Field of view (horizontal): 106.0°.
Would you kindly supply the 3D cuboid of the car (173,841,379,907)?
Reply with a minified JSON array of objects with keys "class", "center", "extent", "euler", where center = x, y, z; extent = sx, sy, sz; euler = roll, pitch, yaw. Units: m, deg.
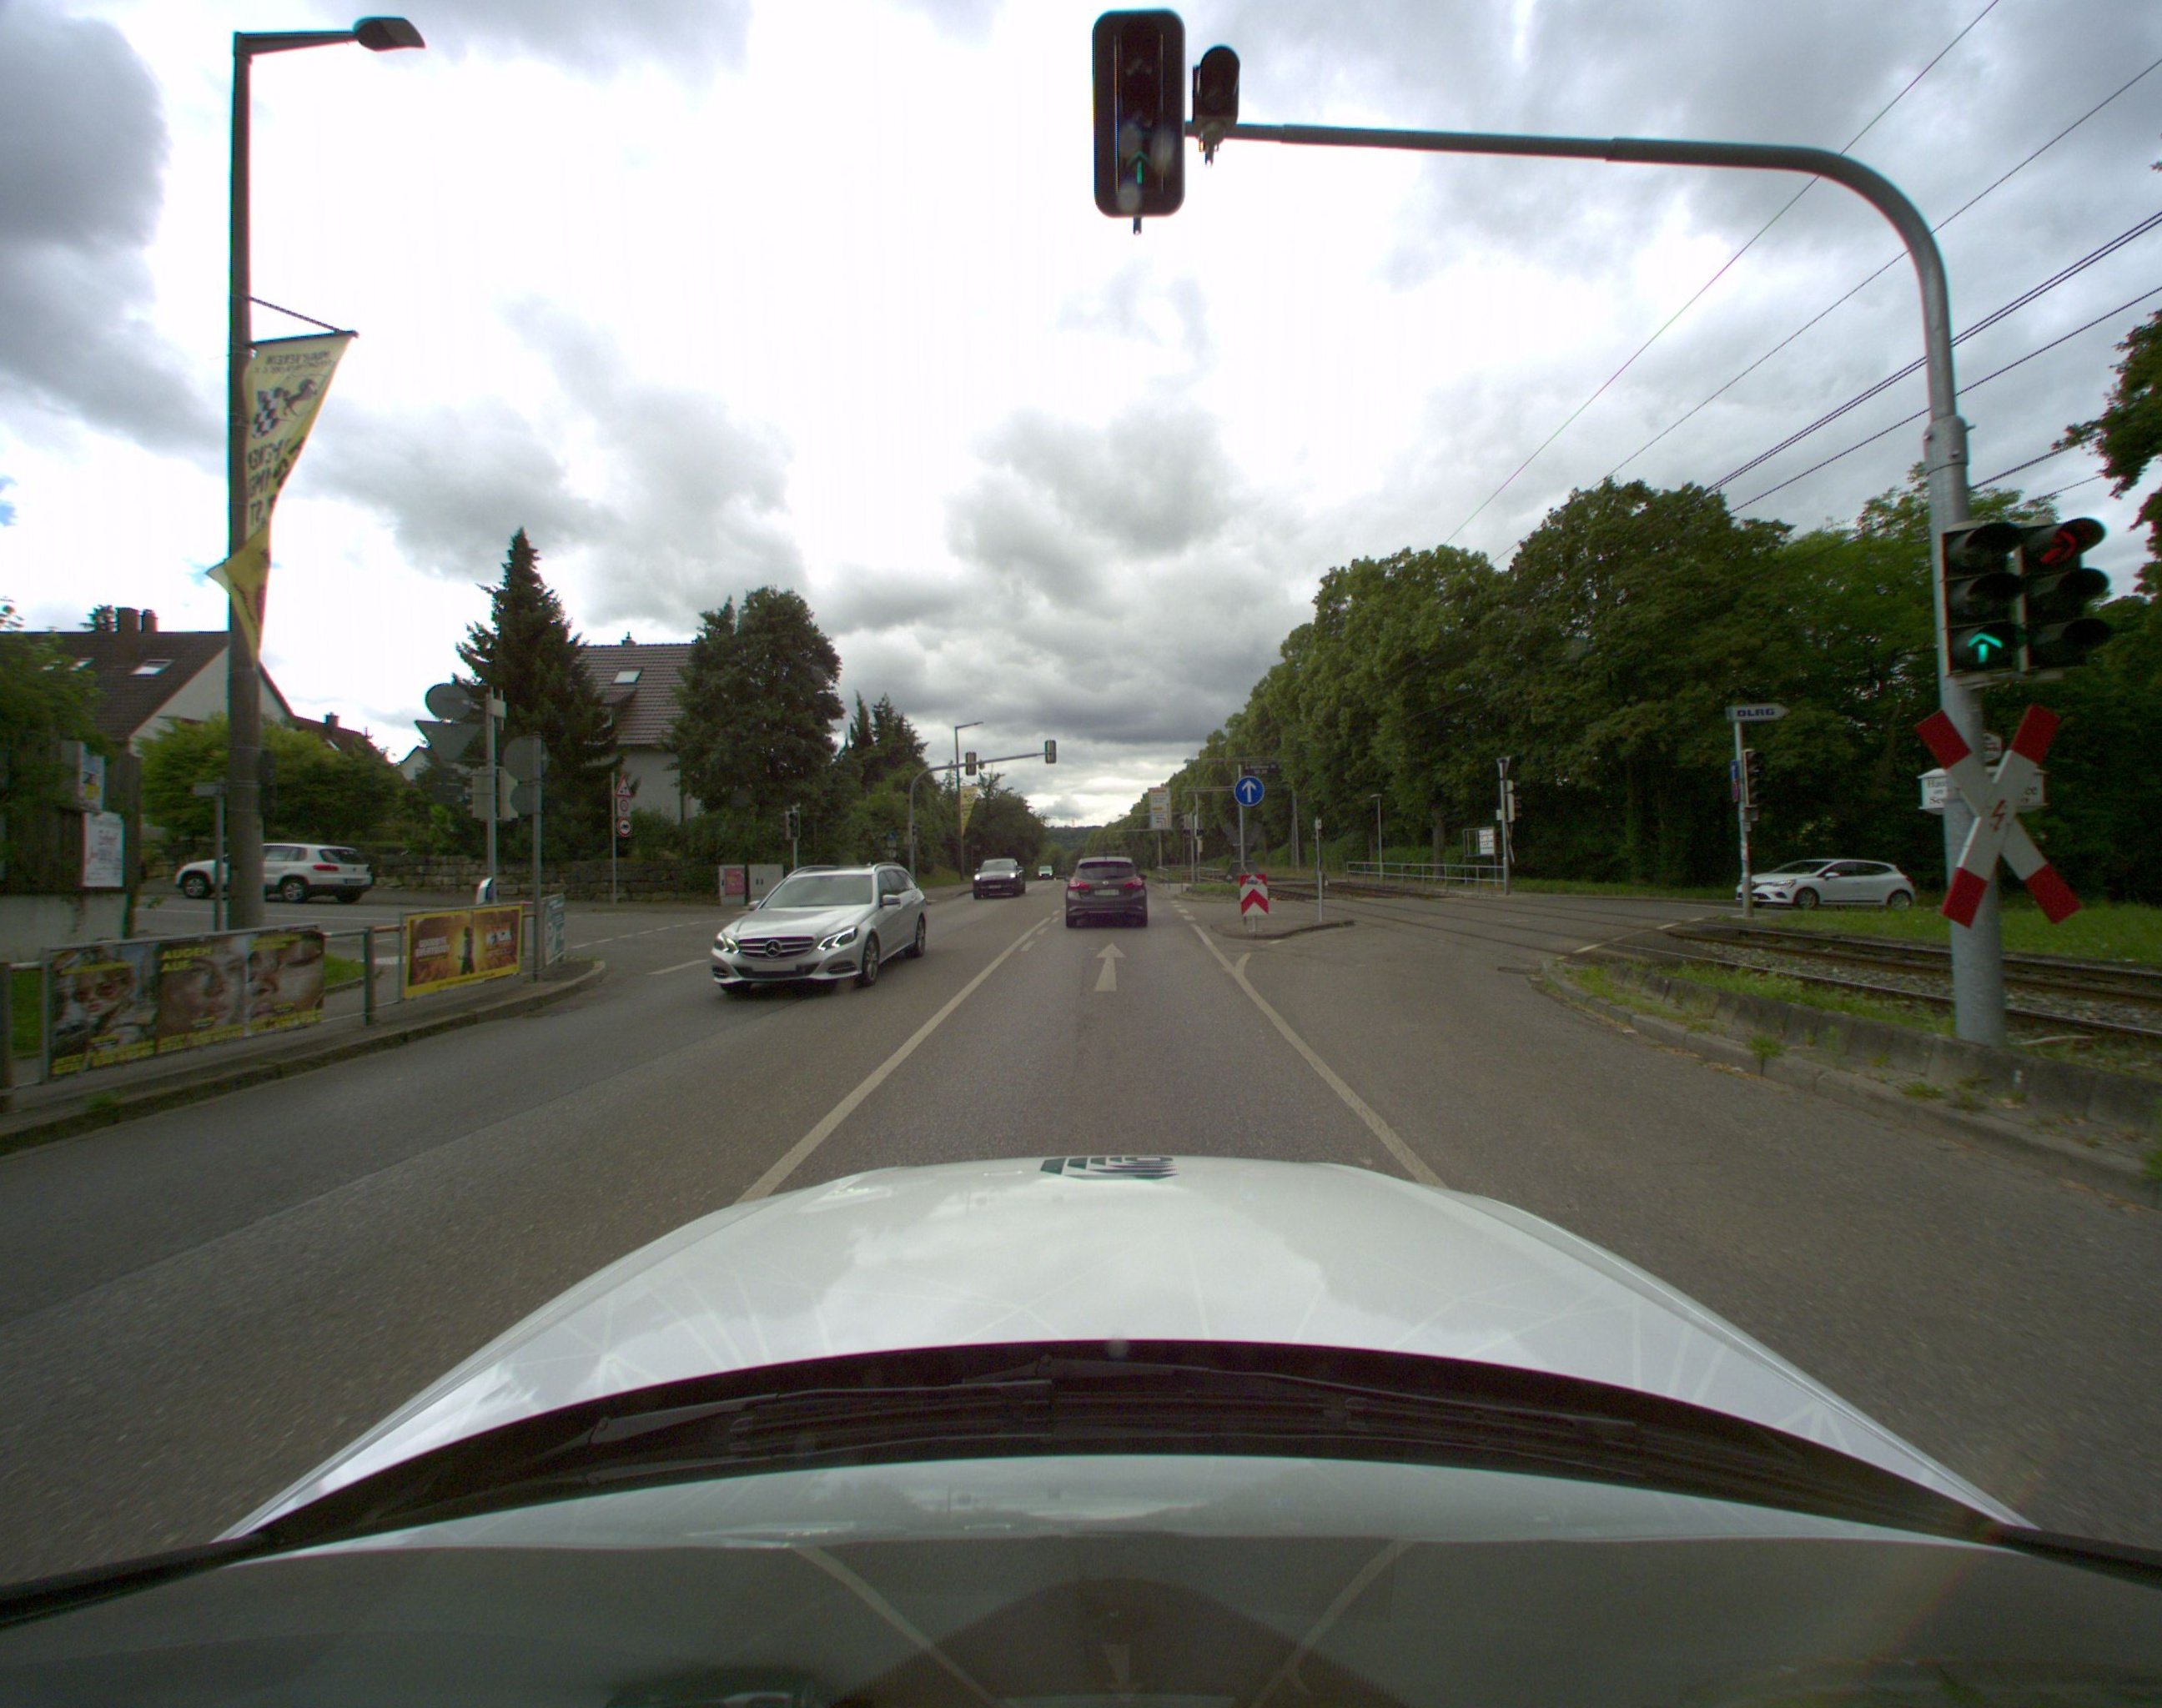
[{"class":"car","center":[-22.686,0.541,23.068],"extent":[3.882,1.598,1.841],"euler":[3,0,-1]}]

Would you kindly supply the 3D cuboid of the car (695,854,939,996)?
[{"class":"car","center":[-3.427,0.799,11.784],"extent":[1.813,1.567,5.204],"euler":[0,0,0]}]

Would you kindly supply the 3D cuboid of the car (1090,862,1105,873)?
[{"class":"car","center":[2.043,1.668,100.394],"extent":[1.735,1.310,4.002],"euler":[-1,0,2]}]

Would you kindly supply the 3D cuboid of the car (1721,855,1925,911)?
[{"class":"car","center":[20.451,0.768,22.561],"extent":[3.979,1.354,1.997],"euler":[2,0,-4]}]

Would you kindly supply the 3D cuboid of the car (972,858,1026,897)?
[{"class":"car","center":[-3.474,1.001,35.171],"extent":[1.895,1.574,4.481],"euler":[0,-1,0]}]

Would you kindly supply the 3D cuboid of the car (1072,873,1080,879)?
[{"class":"car","center":[-1.064,4.682,173.455],"extent":[1.736,1.310,4.000],"euler":[0,0,0]}]

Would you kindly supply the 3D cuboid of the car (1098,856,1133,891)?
[{"class":"car","center":[1.596,0.873,38.015],"extent":[1.533,1.478,3.766],"euler":[-1,0,2]}]

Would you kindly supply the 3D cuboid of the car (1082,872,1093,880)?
[{"class":"car","center":[1.072,3.657,136.094],"extent":[1.736,1.310,4.000],"euler":[0,0,0]}]

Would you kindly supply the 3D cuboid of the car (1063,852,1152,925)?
[{"class":"car","center":[0.633,0.744,19.073],"extent":[1.828,1.519,4.484],"euler":[0,-1,2]}]

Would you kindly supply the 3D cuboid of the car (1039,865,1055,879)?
[{"class":"car","center":[-4.223,2.255,102.682],"extent":[1.779,1.696,4.000],"euler":[-2,-1,1]}]

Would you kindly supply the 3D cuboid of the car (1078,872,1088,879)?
[{"class":"car","center":[0.397,4.056,152.869],"extent":[1.736,1.310,4.000],"euler":[0,0,0]}]
